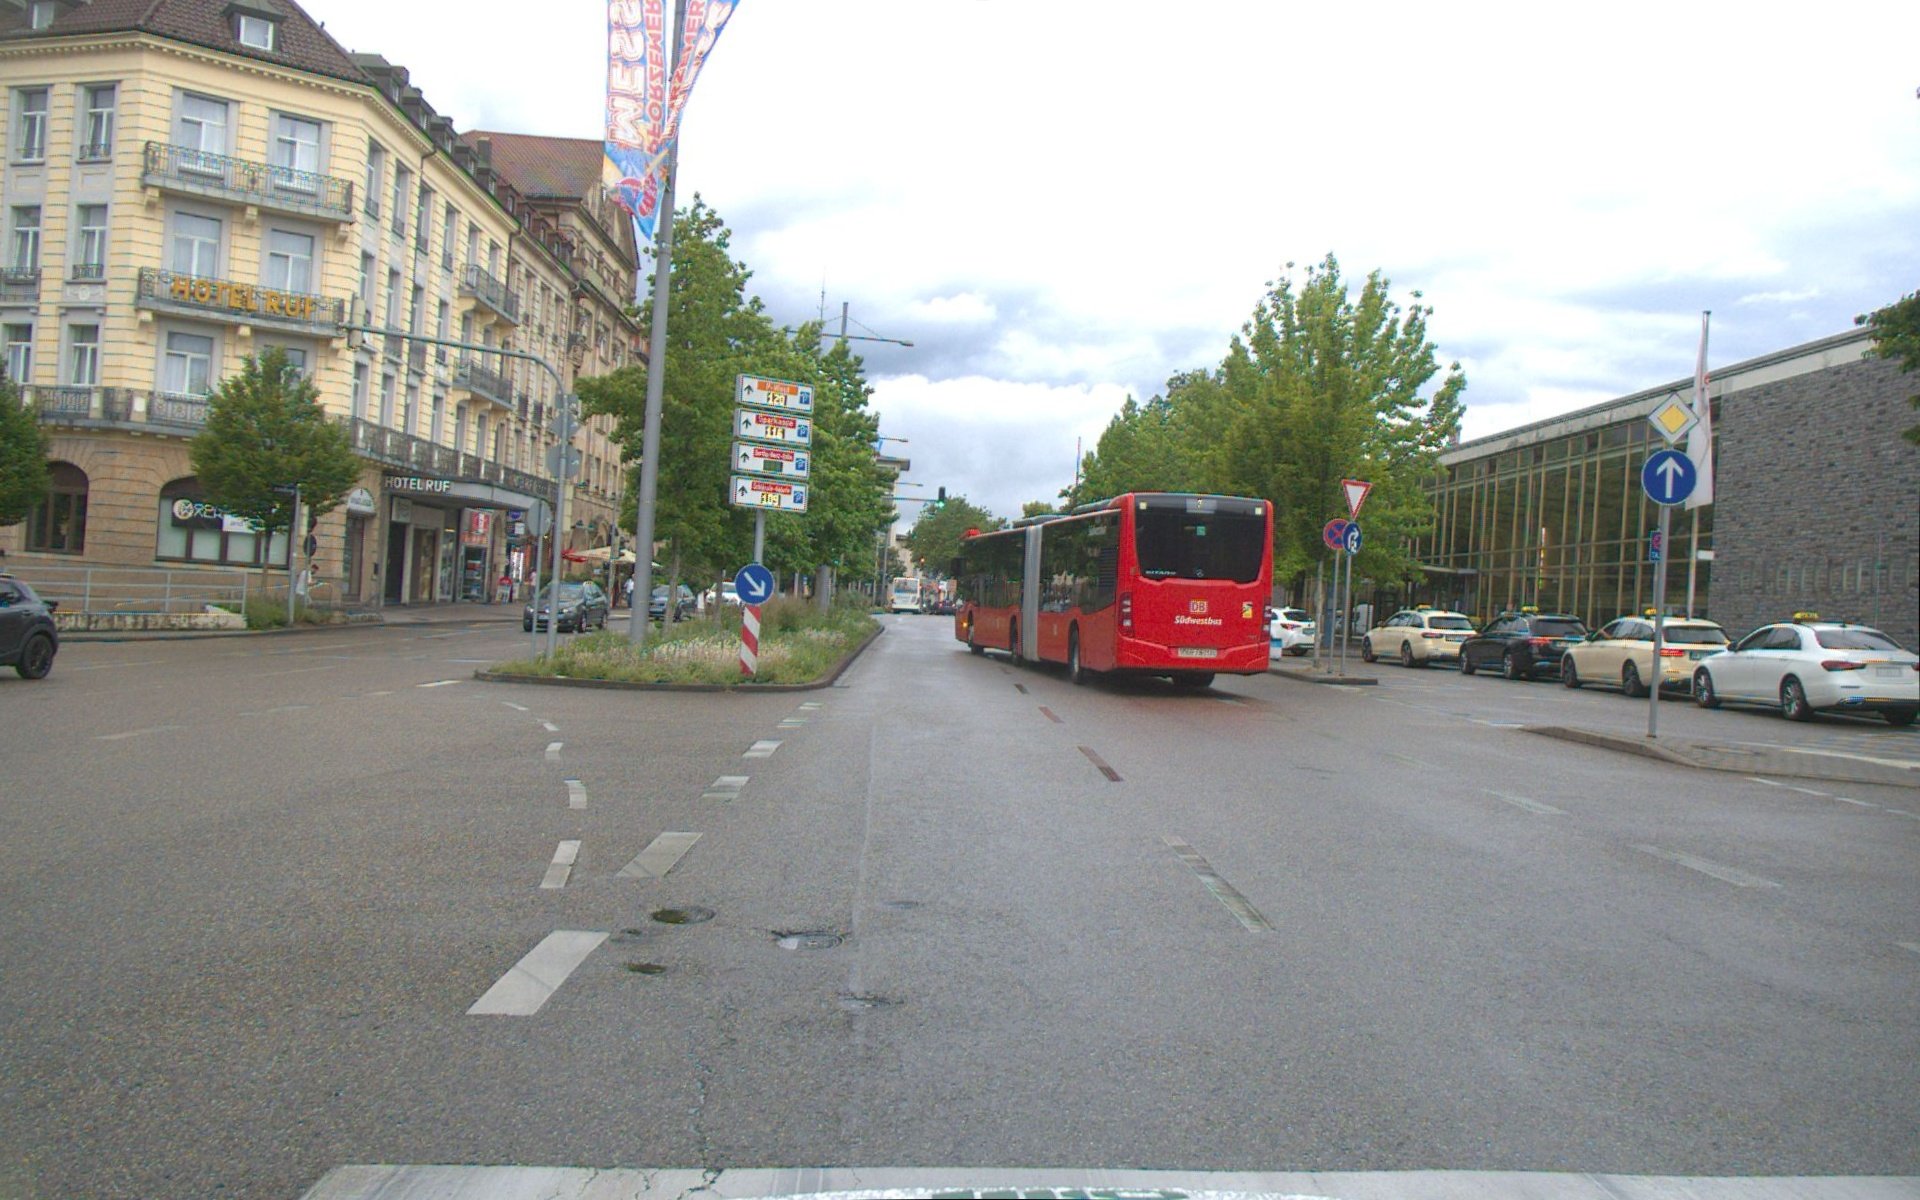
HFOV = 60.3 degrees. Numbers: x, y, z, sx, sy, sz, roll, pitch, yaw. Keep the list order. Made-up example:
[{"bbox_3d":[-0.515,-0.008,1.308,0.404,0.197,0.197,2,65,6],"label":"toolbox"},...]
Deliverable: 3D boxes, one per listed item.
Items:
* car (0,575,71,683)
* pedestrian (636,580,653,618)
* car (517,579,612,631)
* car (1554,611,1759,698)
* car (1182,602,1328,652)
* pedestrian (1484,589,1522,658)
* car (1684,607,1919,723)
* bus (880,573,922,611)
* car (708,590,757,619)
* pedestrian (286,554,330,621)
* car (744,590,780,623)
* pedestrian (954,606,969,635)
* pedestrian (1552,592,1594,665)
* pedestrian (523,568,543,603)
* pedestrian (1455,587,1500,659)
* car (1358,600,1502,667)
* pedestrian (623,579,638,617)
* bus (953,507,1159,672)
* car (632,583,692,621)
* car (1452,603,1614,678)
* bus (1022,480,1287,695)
[{"bbox_3d":[-14.233,0.384,22.569,1.596,1.502,4.029,2,0,8],"label":"car"},{"bbox_3d":[-14.848,-0.053,77.801,0.661,1.731,0.633,2,0,-1],"label":"pedestrian"},{"bbox_3d":[-11.773,0.143,49.504,1.718,1.466,4.061,2,0,2],"label":"car"},{"bbox_3d":[13.244,0.990,31.776,1.809,1.477,4.664,1,0,-2],"label":"car"},{"bbox_3d":[9.095,0.814,51.188,1.764,1.409,4.303,1,0,-41],"label":"car"},{"bbox_3d":[16.344,0.693,49.807,0.795,2.049,0.921,2,0,0],"label":"pedestrian"},{"bbox_3d":[13.373,0.947,26.059,1.739,1.617,4.614,1,0,-2],"label":"car"},{"bbox_3d":[-5.587,-0.741,155.785,3.685,3.265,15.519,1,0,-2],"label":"bus"},{"bbox_3d":[-11.358,0.216,82.715,1.718,1.393,4.061,2,0,2],"label":"car"},{"bbox_3d":[-19.031,-0.349,48.293,0.845,1.911,1.022,2,0,-1],"label":"pedestrian"},{"bbox_3d":[-11.506,0.376,96.232,1.955,1.789,3.995,2,0,-6],"label":"car"},{"bbox_3d":[0.091,1.223,98.702,0.742,1.730,0.560,2,0,6],"label":"pedestrian"},{"bbox_3d":[17.483,0.809,47.188,0.795,2.049,0.921,2,0,-2],"label":"pedestrian"},{"bbox_3d":[-19.172,-0.640,74.264,0.656,1.537,0.512,2,0,-39],"label":"pedestrian"},{"bbox_3d":[14.965,0.659,47.834,0.801,2.049,0.914,2,0,-25],"label":"pedestrian"},{"bbox_3d":[12.553,0.852,44.473,1.956,1.628,4.814,1,0,-8],"label":"car"},{"bbox_3d":[-15.489,-0.107,77.759,0.563,1.762,0.609,2,0,-1],"label":"pedestrian"},{"bbox_3d":[1.916,-0.234,38.117,2.692,3.229,10.175,1,0,-8],"label":"bus"},{"bbox_3d":[-11.881,0.073,66.185,1.719,1.393,4.059,2,1,-2],"label":"car"},{"bbox_3d":[13.054,0.885,37.996,1.875,1.551,4.740,1,0,-3],"label":"car"},{"bbox_3d":[3.145,-0.198,29.318,2.691,3.229,8.106,1,0,-8],"label":"bus"}]
